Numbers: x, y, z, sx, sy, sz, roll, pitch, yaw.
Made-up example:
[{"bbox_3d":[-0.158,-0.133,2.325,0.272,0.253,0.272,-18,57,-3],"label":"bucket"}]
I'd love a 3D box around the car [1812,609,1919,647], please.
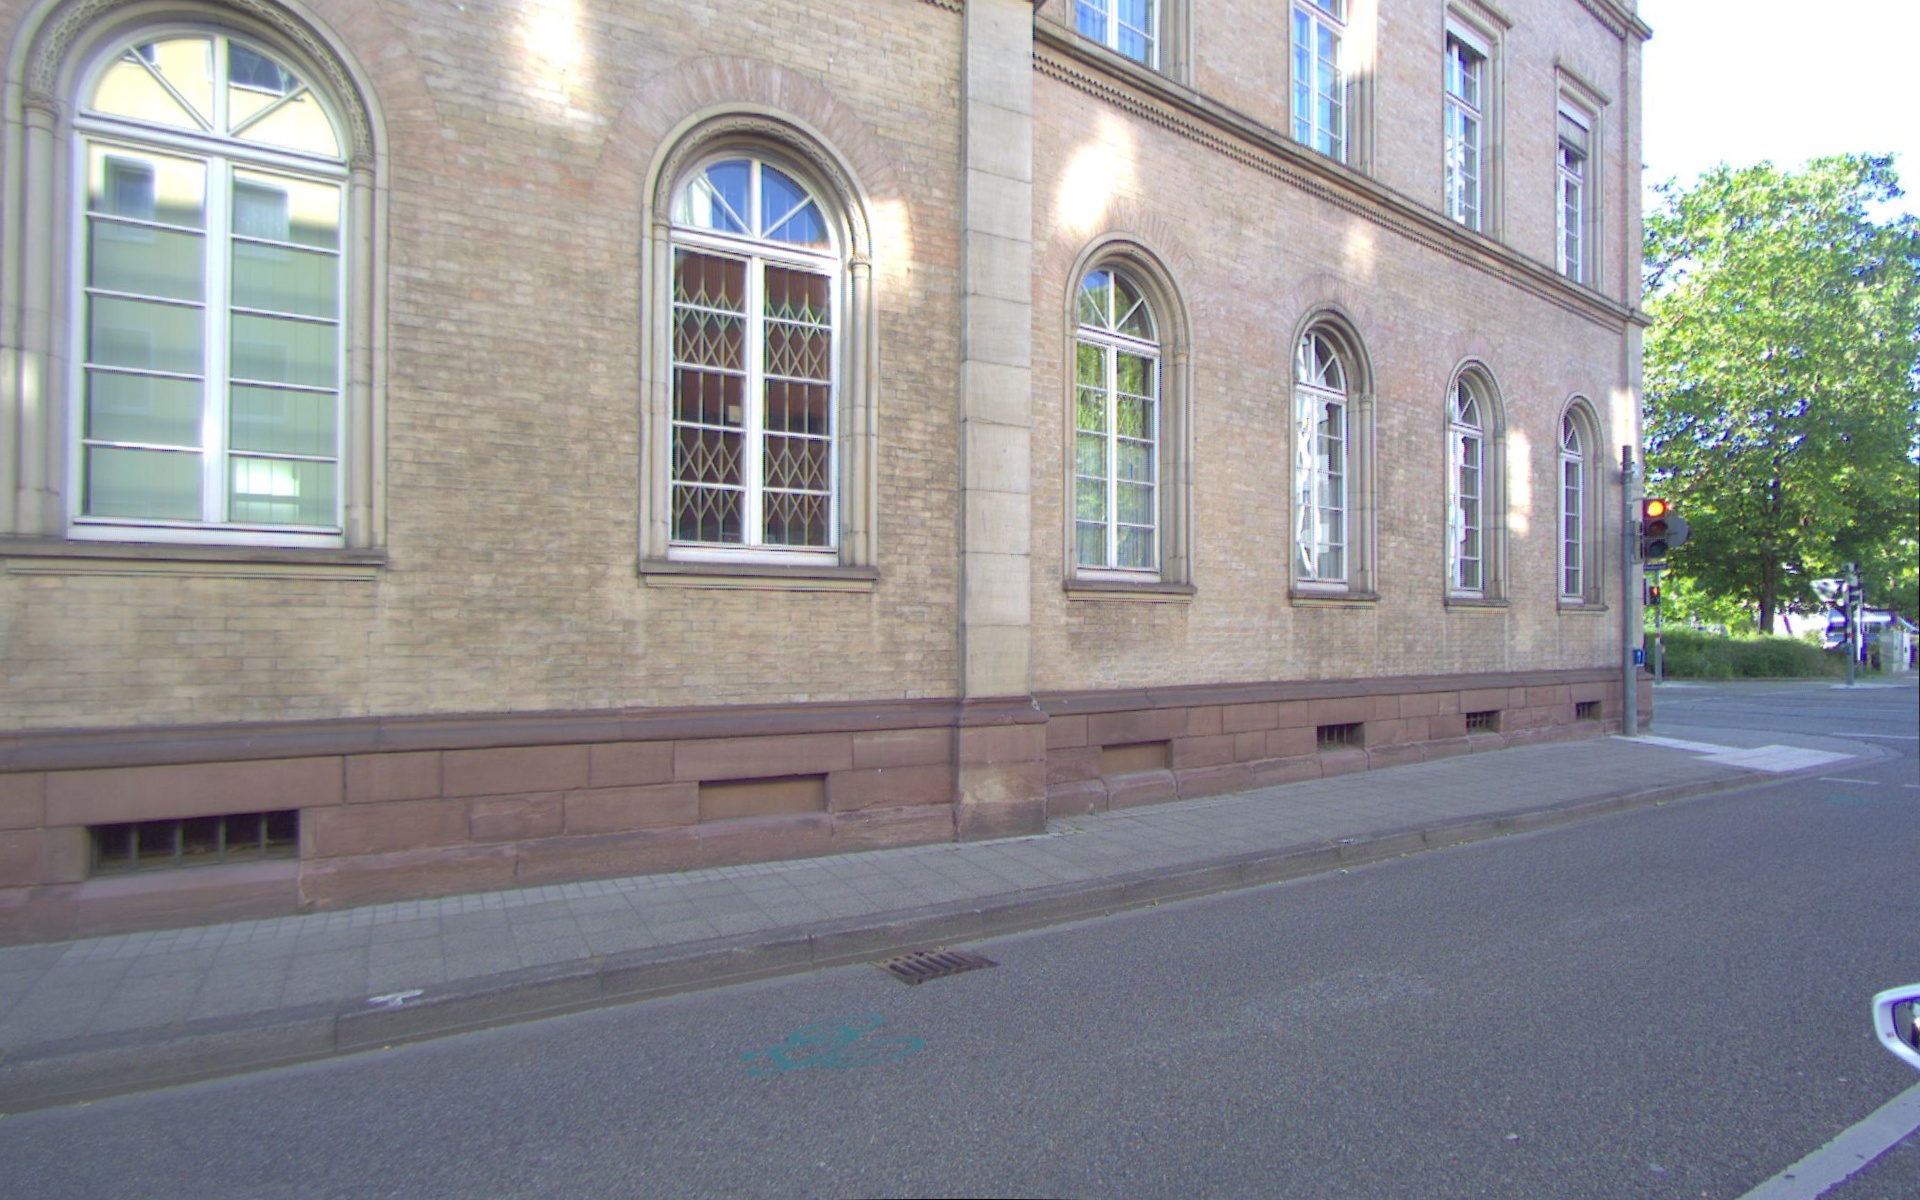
[{"bbox_3d":[53.502,1.618,59.393,1.983,2.040,4.409,2,0,-38],"label":"car"}]

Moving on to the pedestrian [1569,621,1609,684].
[{"bbox_3d":[19.497,1.606,31.156,0.899,1.893,0.742,2,0,25],"label":"pedestrian"}]

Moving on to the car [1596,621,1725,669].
[{"bbox_3d":[24.381,1.527,35.032,1.636,1.476,3.382,2,0,-39],"label":"car"}]
